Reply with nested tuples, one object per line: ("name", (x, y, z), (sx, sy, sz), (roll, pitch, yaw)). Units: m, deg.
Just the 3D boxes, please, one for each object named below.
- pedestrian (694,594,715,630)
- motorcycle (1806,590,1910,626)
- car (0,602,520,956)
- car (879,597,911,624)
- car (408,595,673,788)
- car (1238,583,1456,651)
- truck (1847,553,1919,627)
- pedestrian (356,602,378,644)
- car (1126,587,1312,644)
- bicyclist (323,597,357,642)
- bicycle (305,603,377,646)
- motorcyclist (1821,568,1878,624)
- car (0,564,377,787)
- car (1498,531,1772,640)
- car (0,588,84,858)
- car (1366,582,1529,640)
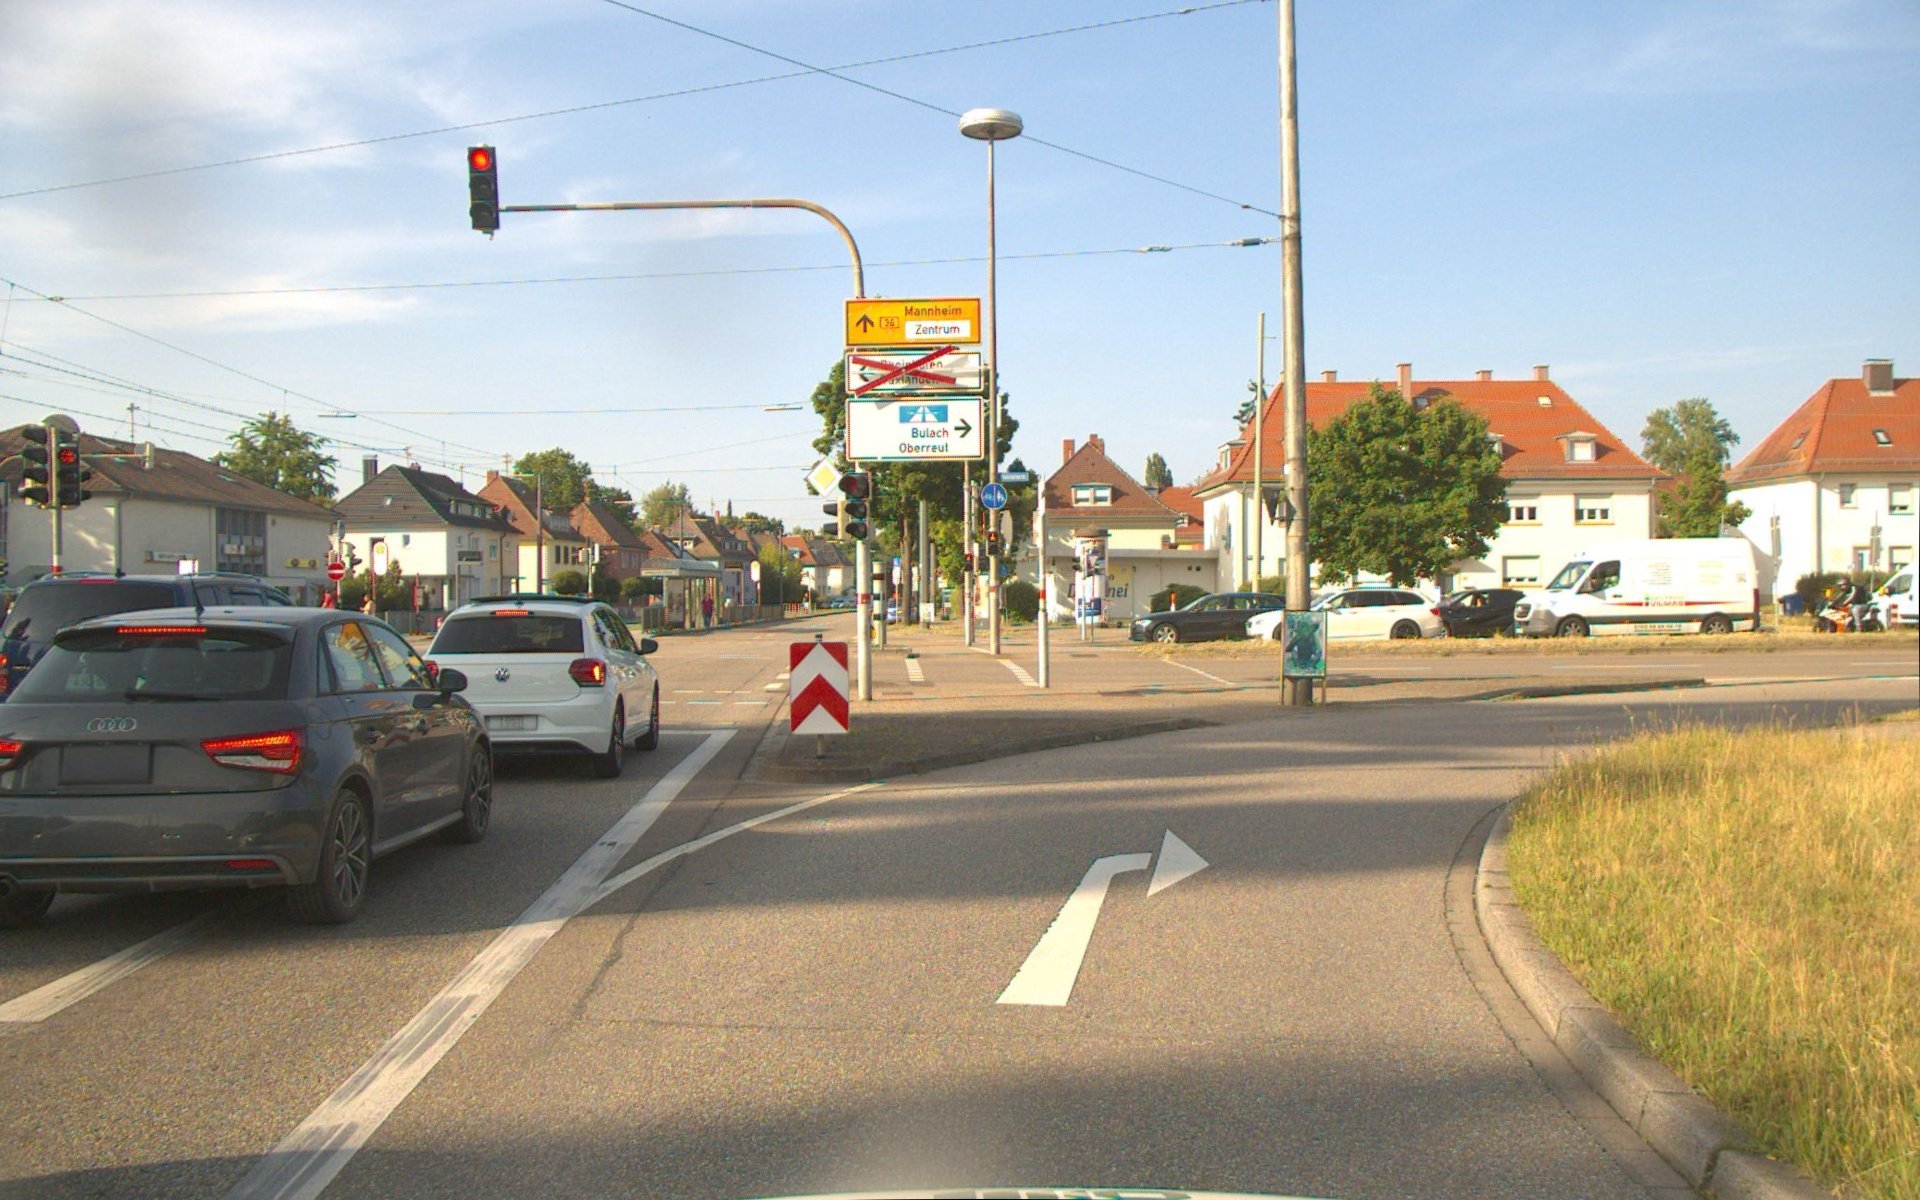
("pedestrian", (-10.887, 0.529, 70.452), (0.737, 1.525, 0.827), (1, -1, 0))
("motorcycle", (22.271, 0.198, 41.035), (2.226, 0.882, 0.690), (-1, 0, -4))
("car", (-3.579, 0.740, 8.729), (1.609, 1.421, 3.825), (-1, 0, -2))
("car", (-3.451, 0.579, 88.783), (1.641, 1.422, 3.998), (1, -1, -2))
("car", (-3.608, 0.707, 14.870), (1.624, 1.468, 4.010), (-1, 0, -5))
("car", (9.586, 0.408, 41.204), (4.992, 1.590, 1.839), (-1, 0, -2))
("truck", (34.742, -0.362, 57.788), (2.253, 2.568, 6.274), (-1, 1, -37))
("pedestrian", (-20.682, 0.815, 57.671), (0.567, 1.456, 0.546), (1, -1, -6))
("car", (6.969, 0.402, 44.719), (4.726, 1.436, 1.715), (-1, 0, -2))
("bicyclist", (-20.508, 0.650, 54.734), (0.868, 1.456, 1.133), (1, -1, -11))
("bicycle", (-20.479, 0.808, 54.738), (2.037, 1.371, 1.105), (1, -1, -12))
("motorcyclist", (22.055, -0.096, 41.018), (1.044, 1.375, 0.679), (-1, 0, -3))
("car", (-6.834, 0.571, 15.008), (1.476, 1.680, 4.743), (-1, 0, -1))
("car", (16.911, -0.363, 41.619), (6.083, 2.629, 1.999), (-1, 0, -2))
("car", (-6.241, 0.702, 8.016), (1.665, 1.534, 4.552), (0, 0, -2))
("car", (13.190, 0.294, 44.862), (3.906, 1.478, 1.715), (-1, 0, -2))
